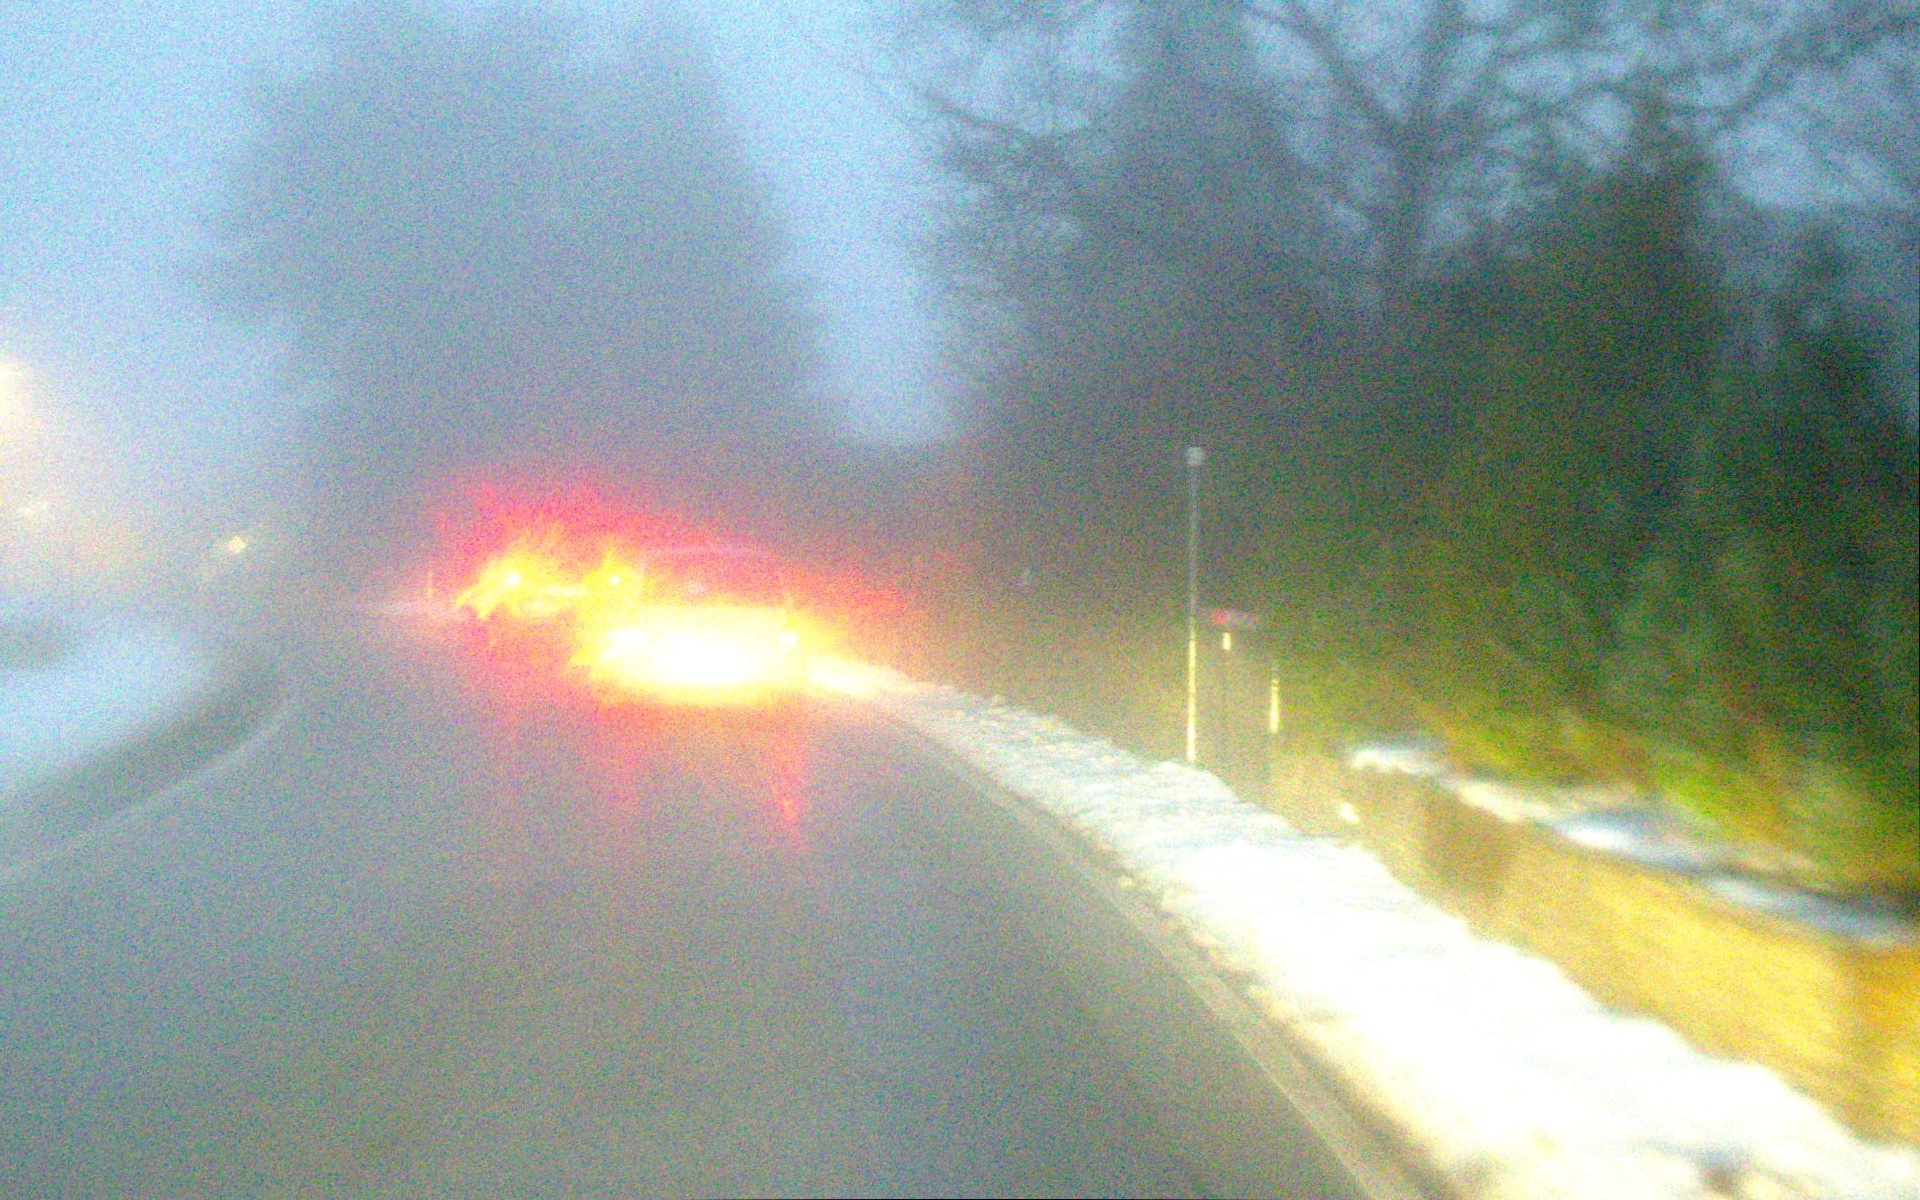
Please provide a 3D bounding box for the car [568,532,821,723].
[{"bbox_3d":[-2.205,0.216,29.435,1.993,1.503,4.000,1,0,-2],"label":"car"}]

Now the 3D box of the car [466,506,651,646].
[{"bbox_3d":[-5.324,-0.307,45.200,1.993,1.744,4.001,1,0,-12],"label":"car"}]
